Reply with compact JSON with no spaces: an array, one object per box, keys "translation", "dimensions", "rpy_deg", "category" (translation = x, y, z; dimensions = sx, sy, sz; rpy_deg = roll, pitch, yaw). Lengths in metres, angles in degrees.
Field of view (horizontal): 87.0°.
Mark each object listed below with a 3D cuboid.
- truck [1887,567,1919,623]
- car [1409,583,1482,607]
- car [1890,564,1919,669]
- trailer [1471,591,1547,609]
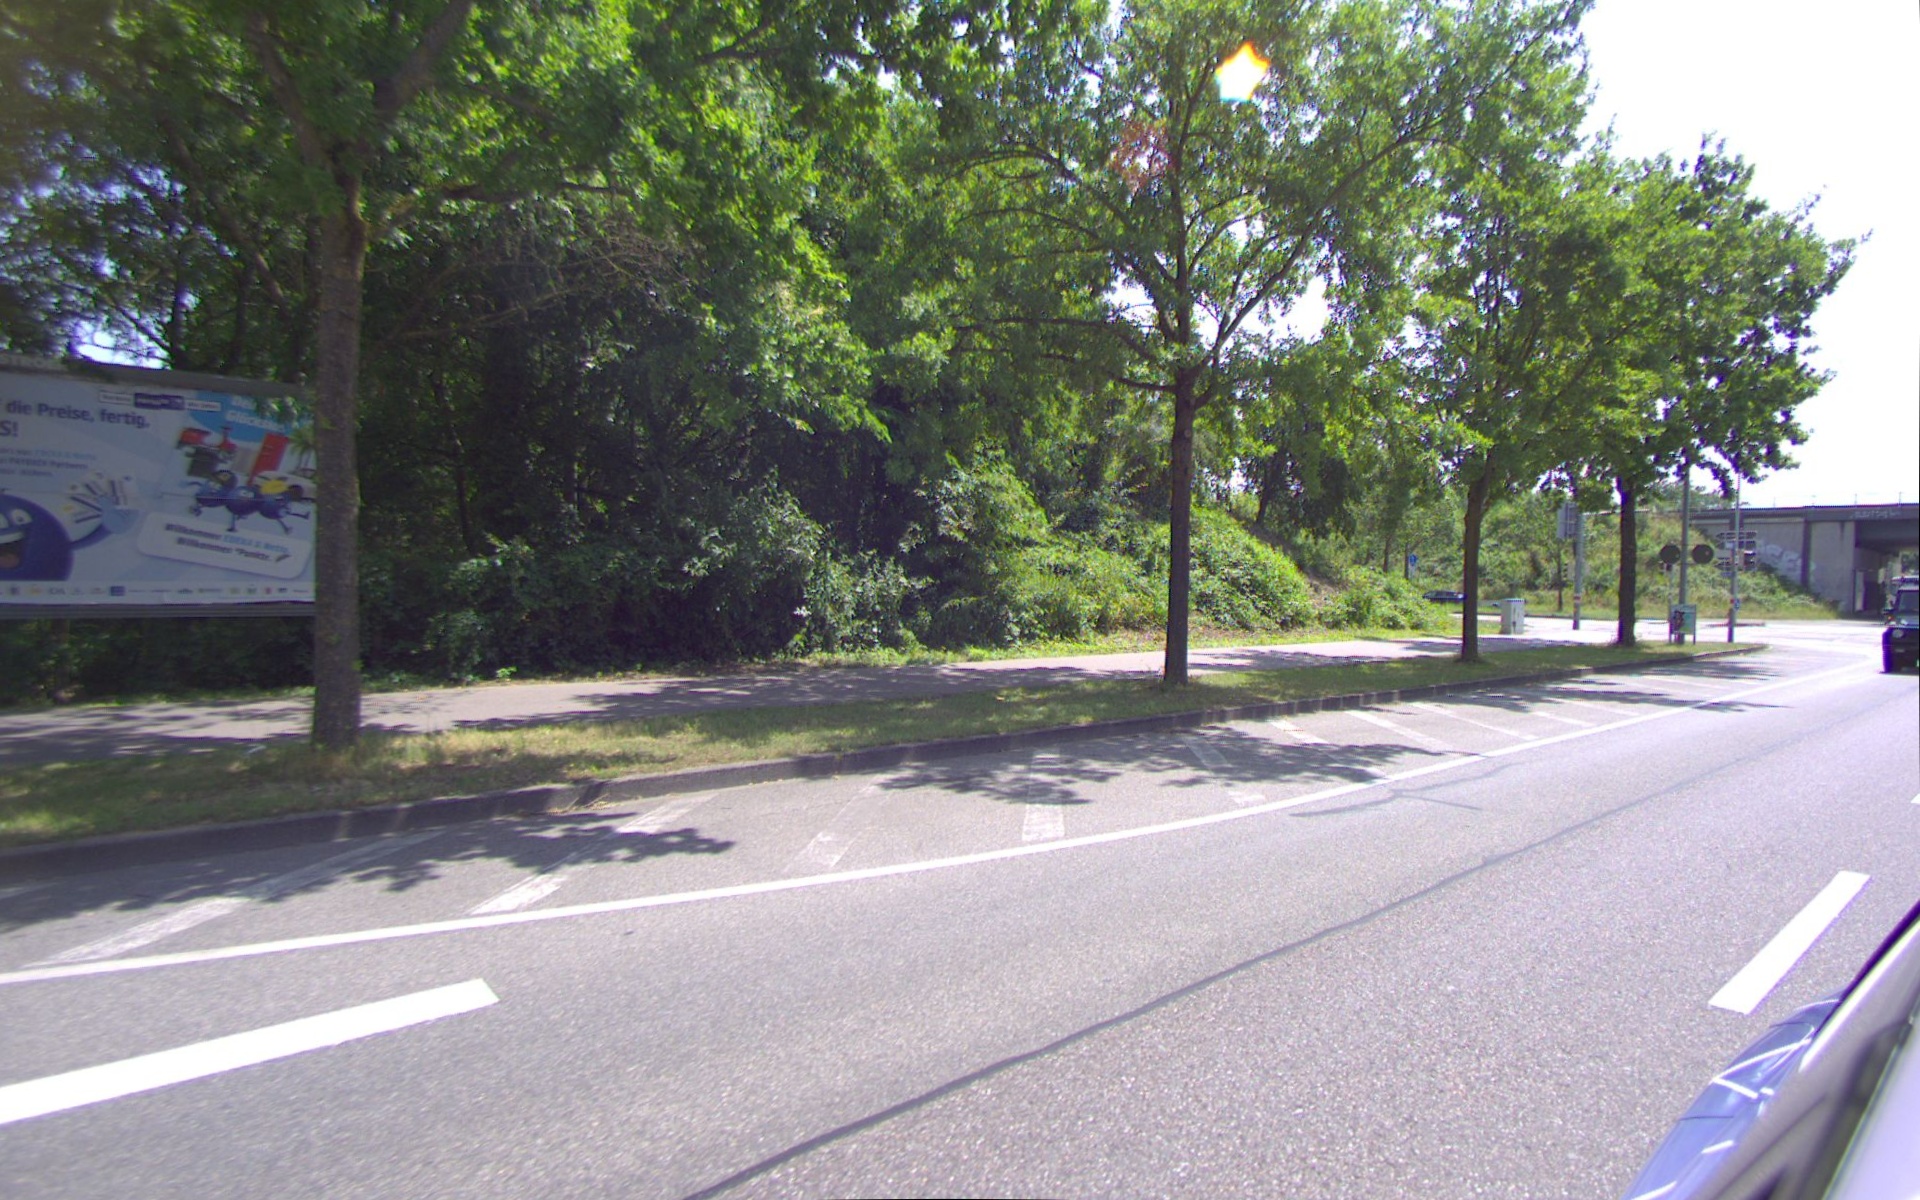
[{"translation":[54.768,-0.252,55.415],"dimensions":[8.340,2.952,2.892],"rpy_deg":[0,0,-25],"category":"truck"},{"translation":[31.489,-0.350,65.757],"dimensions":[1.779,1.407,3.895],"rpy_deg":[0,2,-43],"category":"car"},{"translation":[22.035,0.335,22.246],"dimensions":[4.478,2.180,1.840],"rpy_deg":[-1,2,-41],"category":"car"},{"translation":[34.114,0.000,62.965],"dimensions":[1.653,0.954,3.825],"rpy_deg":[0,2,-43],"category":"trailer"}]
